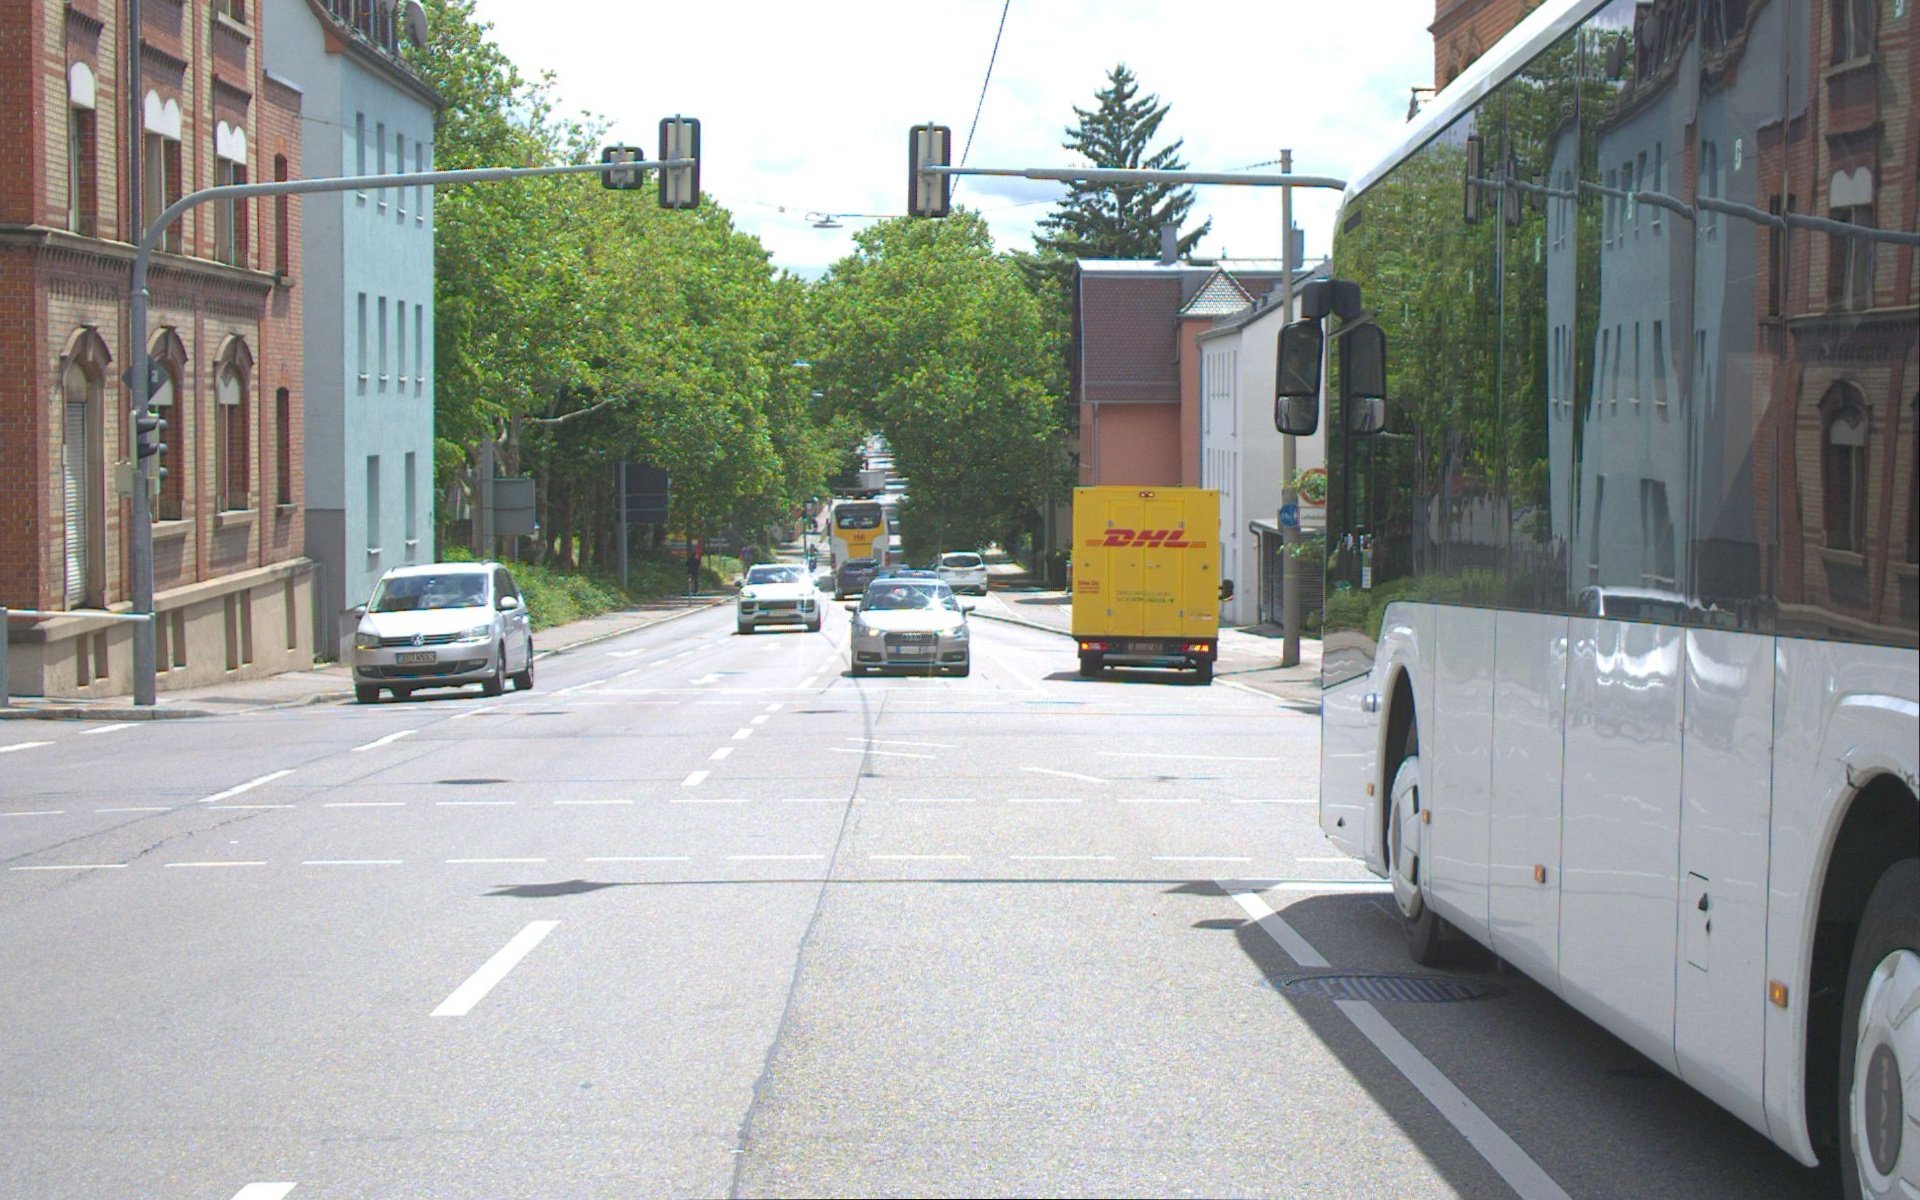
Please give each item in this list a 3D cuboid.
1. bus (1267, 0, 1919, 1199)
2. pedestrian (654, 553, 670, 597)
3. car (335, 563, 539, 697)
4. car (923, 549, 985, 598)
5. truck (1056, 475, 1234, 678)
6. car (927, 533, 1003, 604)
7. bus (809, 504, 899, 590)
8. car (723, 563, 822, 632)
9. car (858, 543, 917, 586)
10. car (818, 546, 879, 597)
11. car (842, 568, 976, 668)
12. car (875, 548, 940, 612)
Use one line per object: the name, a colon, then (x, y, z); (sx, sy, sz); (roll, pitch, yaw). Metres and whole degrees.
bus: (2.940, -0.389, 9.305); (2.904, 3.498, 12.488); (1, 1, -1)
pedestrian: (-11.839, -1.006, 136.564); (0.606, 1.752, 0.654); (-1, 1, -2)
car: (-6.528, 0.334, 43.332); (1.935, 1.558, 4.389); (-1, 1, -1)
car: (-0.242, -1.022, 129.570); (2.091, 1.824, 4.143); (0, 1, -4)
truck: (2.853, -0.375, 53.167); (2.541, 2.903, 6.572); (1, 1, 3)
car: (0.121, -0.926, 99.846); (1.993, 2.007, 4.001); (-1, 1, -2)
bus: (-4.738, -2.357, 151.649); (3.300, 3.618, 11.246); (-1, 1, -5)
car: (-4.565, -0.079, 84.246); (2.207, 1.607, 4.547); (-1, 1, -1)
car: (-2.358, -1.159, 112.052); (1.865, 1.363, 4.547); (-1, 1, -1)
car: (-4.097, -1.044, 125.657); (2.091, 1.824, 4.143); (0, 1, -4)
car: (-0.743, 0.228, 50.410); (1.865, 1.363, 4.547); (-1, 1, -1)
car: (-1.519, -0.598, 99.428); (1.819, 1.778, 4.000); (-1, 1, -1)
